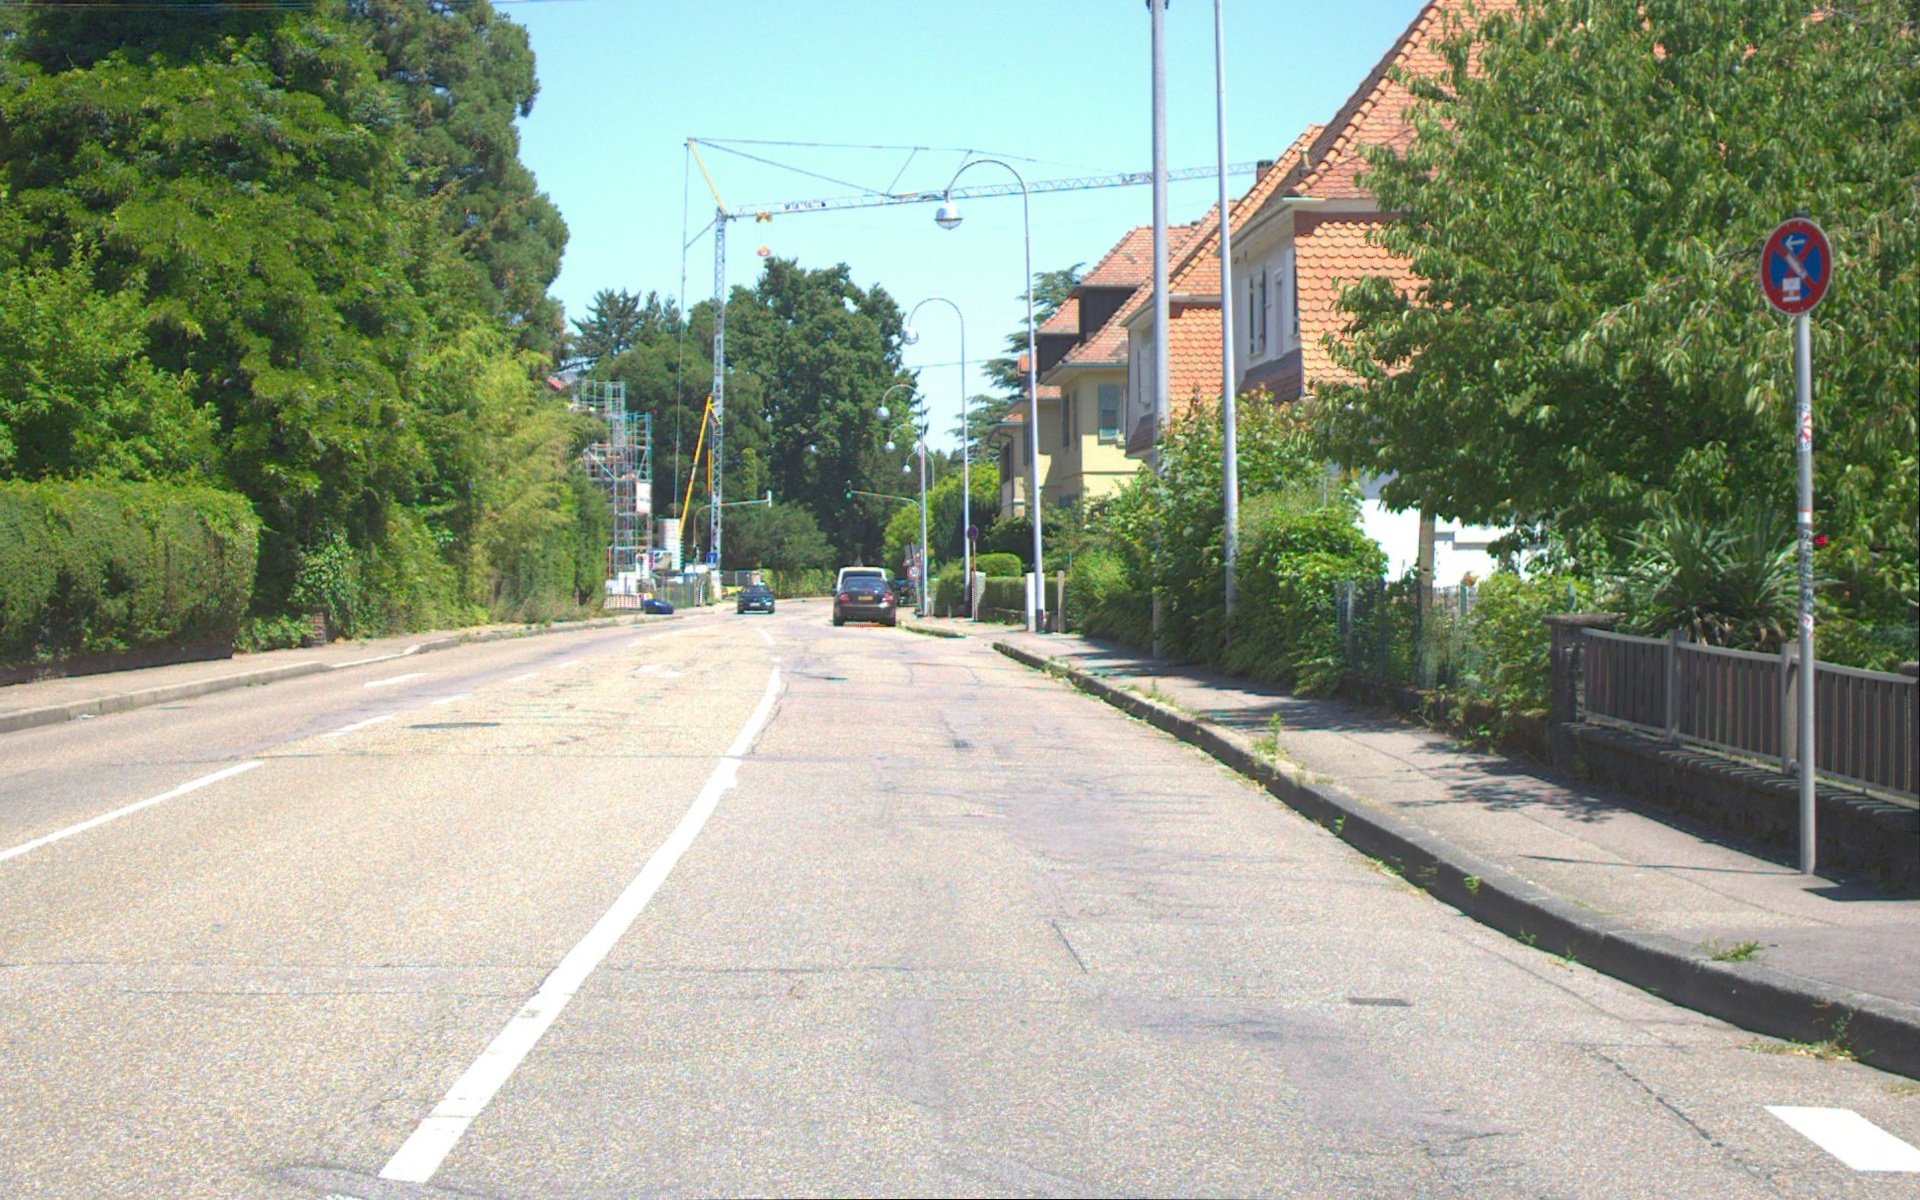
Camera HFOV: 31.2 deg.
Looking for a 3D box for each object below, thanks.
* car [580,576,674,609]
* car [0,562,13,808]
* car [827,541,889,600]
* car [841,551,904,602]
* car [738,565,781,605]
[{"bbox_3d":[-15.779,-0.359,163.192,3.989,1.463,1.964,-1,1,13],"label":"car"},{"bbox_3d":[-6.191,0.541,17.318,1.680,1.368,4.207,-2,1,-1],"label":"car"},{"bbox_3d":[-3.507,-0.988,117.511,1.993,1.894,4.823,2,0,-3],"label":"car"},{"bbox_3d":[-2.507,-0.656,97.778,1.692,1.414,4.551,0,0,-3],"label":"car"},{"bbox_3d":[-10.183,-0.778,174.604,1.993,1.844,4.712,0,3,-1],"label":"car"}]
